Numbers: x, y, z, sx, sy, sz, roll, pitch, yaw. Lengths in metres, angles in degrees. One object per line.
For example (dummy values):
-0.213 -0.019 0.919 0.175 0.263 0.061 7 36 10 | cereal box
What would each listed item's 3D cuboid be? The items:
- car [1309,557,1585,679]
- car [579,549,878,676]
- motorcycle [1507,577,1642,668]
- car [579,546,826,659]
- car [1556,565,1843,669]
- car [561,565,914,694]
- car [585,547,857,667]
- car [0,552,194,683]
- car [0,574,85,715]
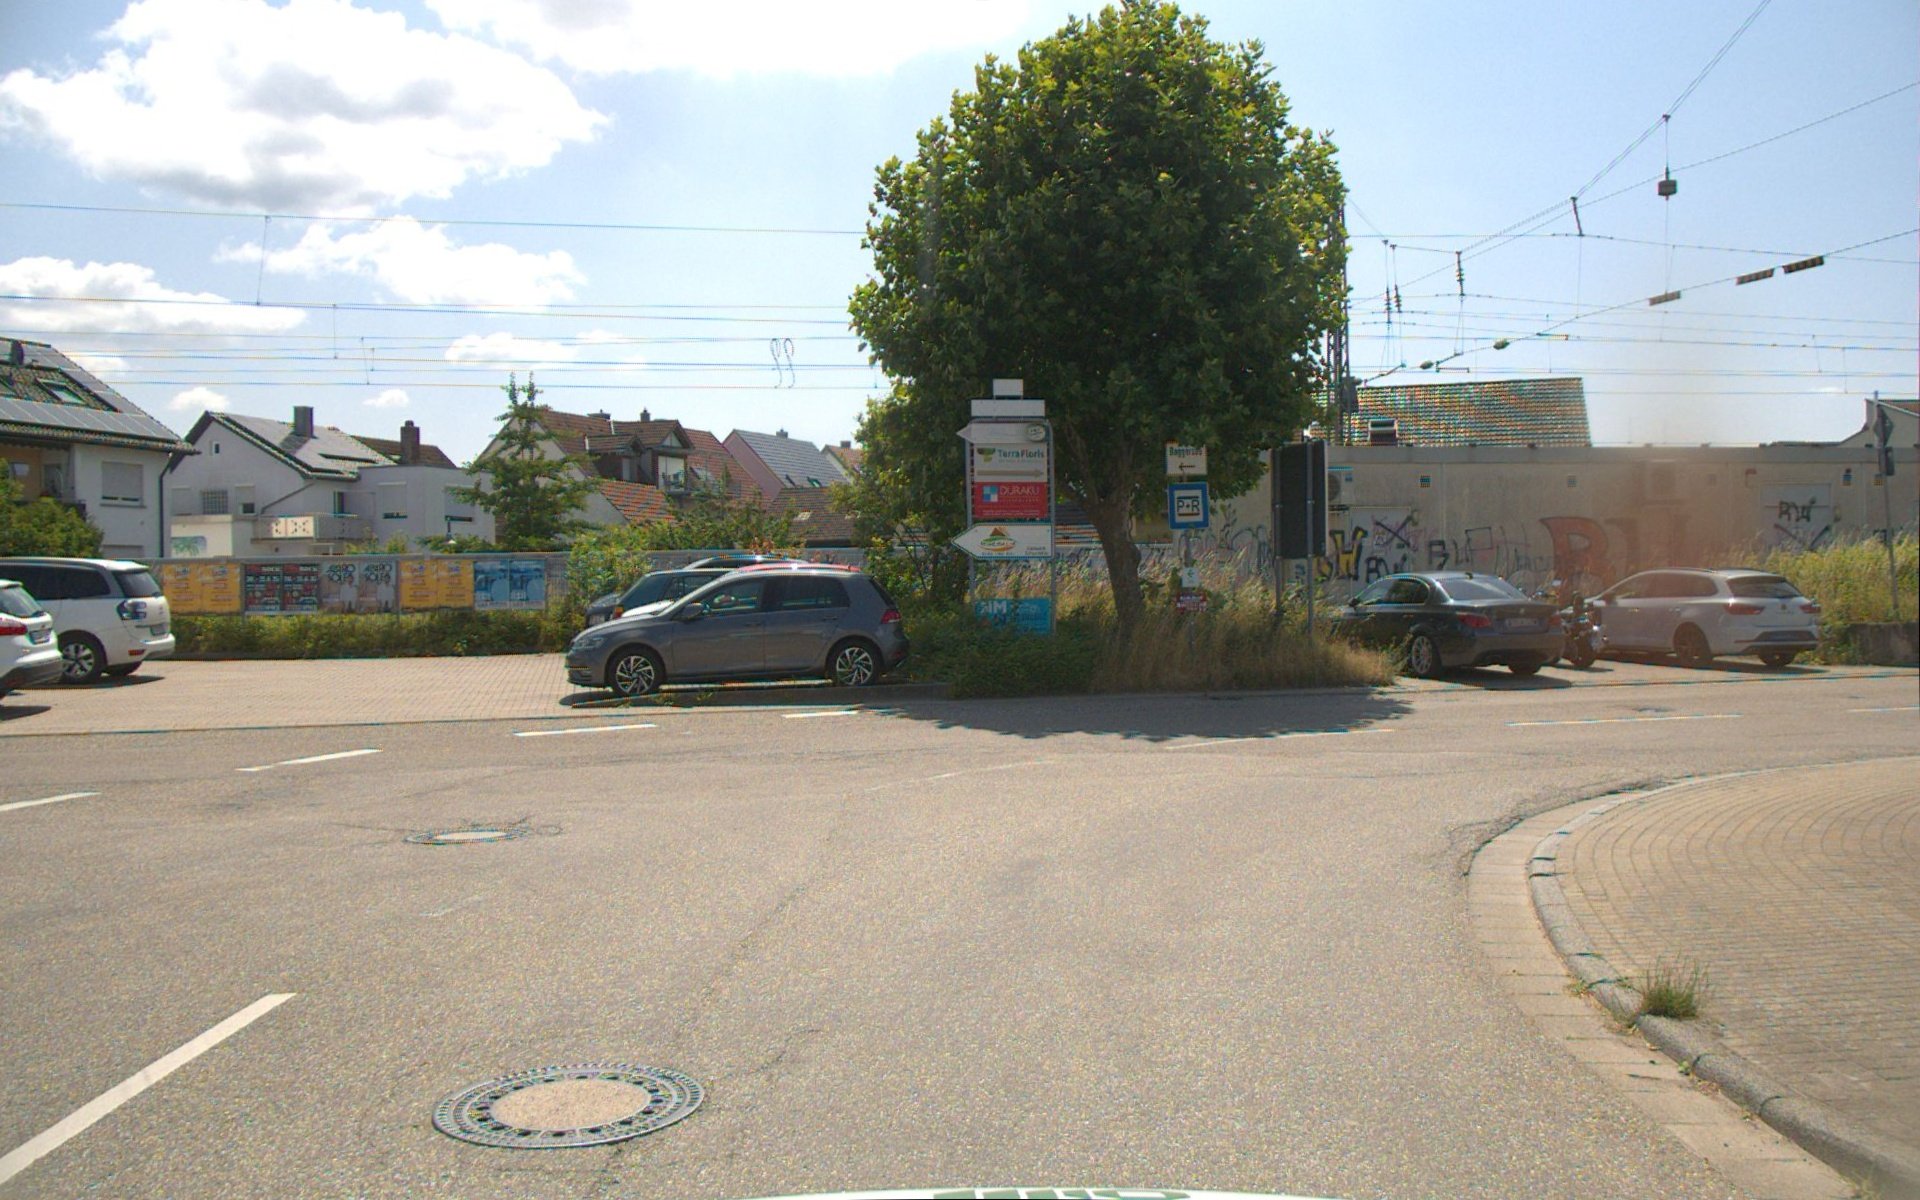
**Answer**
6.816 0.192 23.595 1.726 1.410 3.978 0 4 -20 | car
-3.196 0.156 22.888 3.914 1.614 1.776 -1 0 -10 | car
9.125 0.304 24.662 0.883 1.250 1.987 -1 2 -16 | motorcycle
-4.282 0.048 27.606 3.914 1.760 1.766 1 0 -10 | car
11.226 0.205 25.422 1.677 1.401 4.092 0 2 -19 | car
-2.697 0.341 20.251 4.110 1.488 1.661 0 0 -9 | car
-3.627 0.078 25.181 3.915 1.686 1.995 -1 1 -10 | car
-13.193 0.209 22.780 4.370 1.720 1.996 0 2 -9 | car
-12.218 0.440 18.181 4.208 1.502 1.822 1 0 -13 | car
